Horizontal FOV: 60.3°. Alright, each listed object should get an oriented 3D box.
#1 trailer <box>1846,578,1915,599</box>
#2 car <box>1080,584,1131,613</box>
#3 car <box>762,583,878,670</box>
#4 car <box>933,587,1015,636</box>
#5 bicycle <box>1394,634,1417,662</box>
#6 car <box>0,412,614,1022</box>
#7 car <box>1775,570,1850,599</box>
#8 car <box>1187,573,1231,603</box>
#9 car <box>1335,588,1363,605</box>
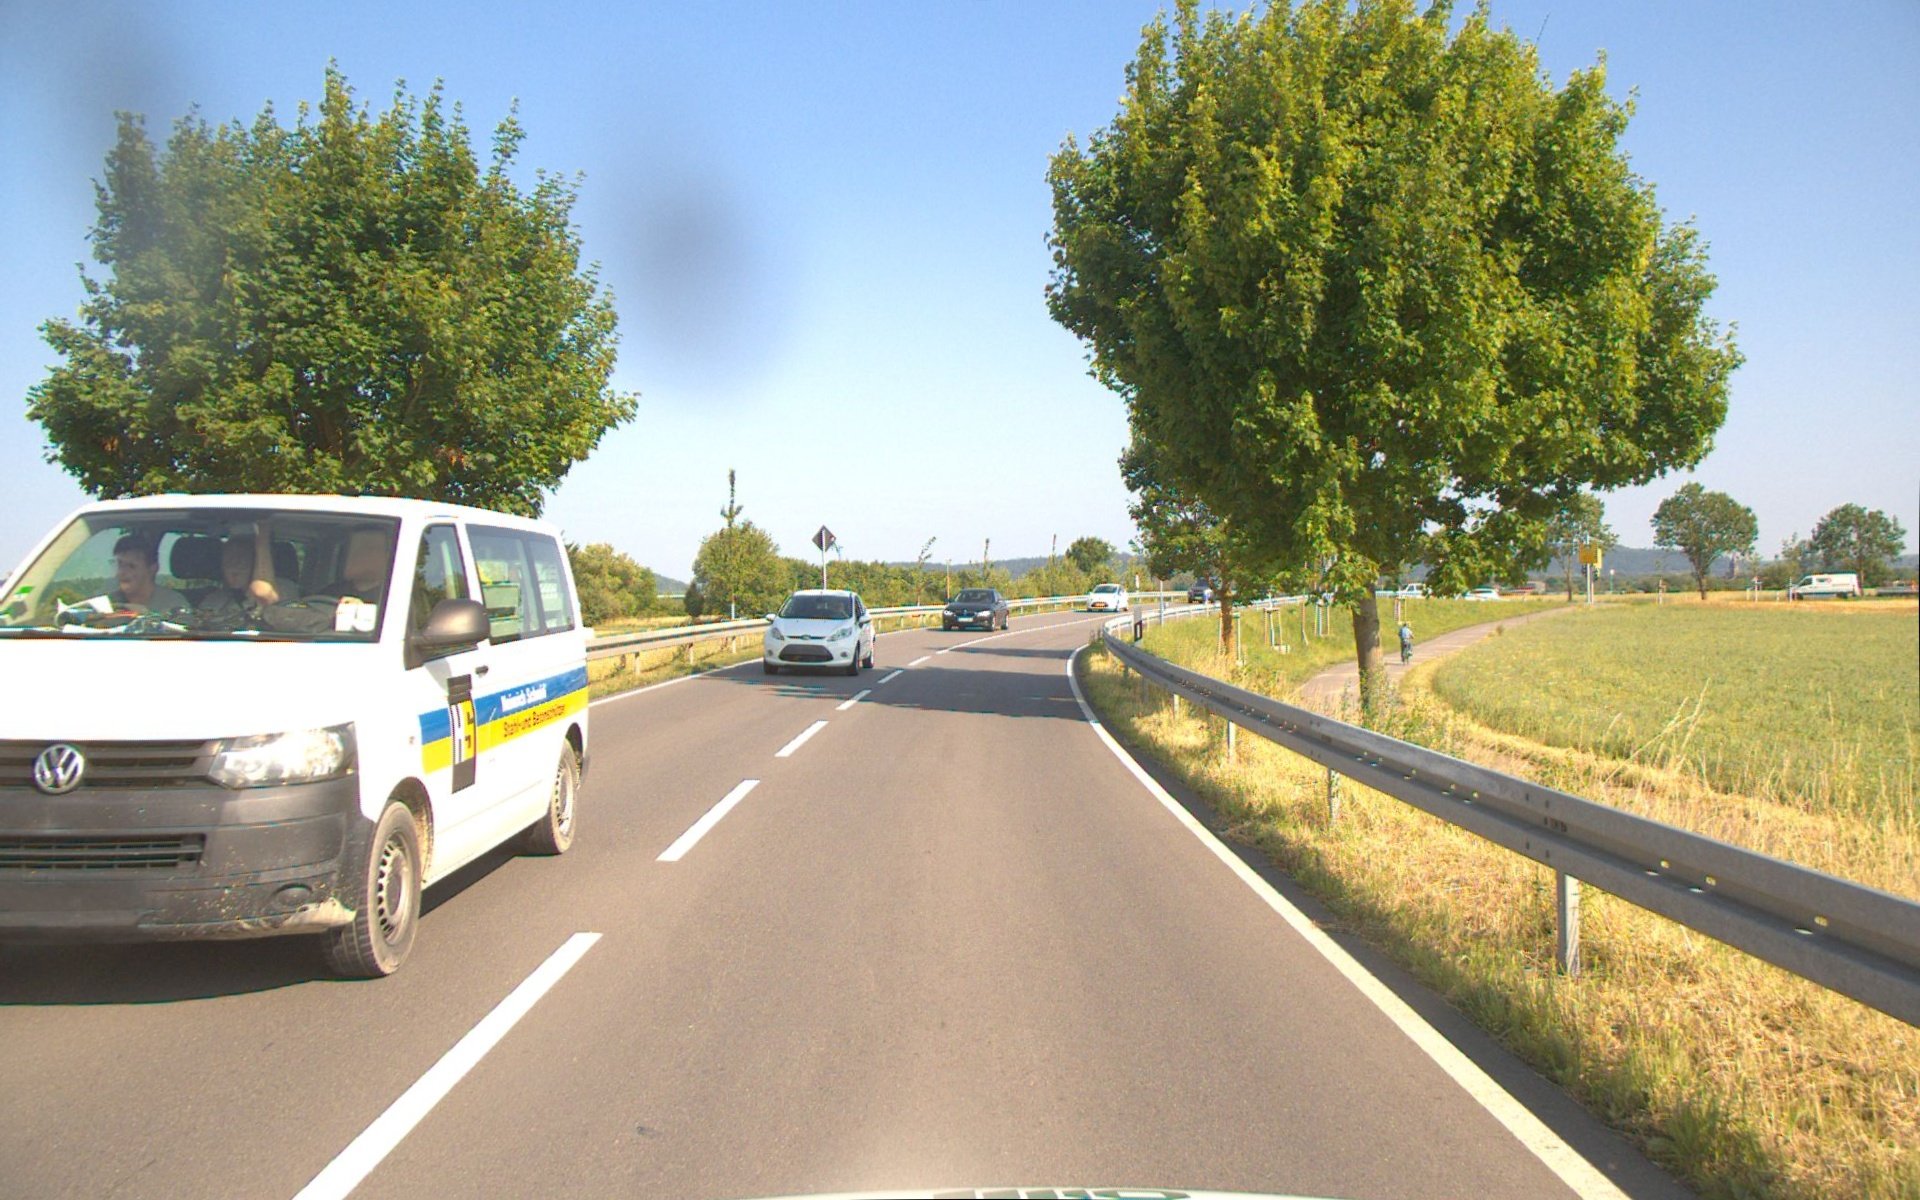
[{"bbox_3d":[82.432,-1.041,148.110,5.176,1.784,1.945,-1,-1,38],"label":"trailer"},{"bbox_3d":[7.826,-0.057,88.548,1.814,1.474,4.155,1,0,18],"label":"car"},{"bbox_3d":[-2.490,0.493,30.211,1.715,1.454,3.846,1,-1,1],"label":"car"},{"bbox_3d":[0.535,0.423,57.119,1.798,1.571,4.247,1,-1,15],"label":"car"},{"bbox_3d":[18.196,1.969,67.521,0.741,1.052,1.930,0,1,21],"label":"bicycle"},{"bbox_3d":[-3.077,0.434,7.970,1.873,2.049,4.782,0,-1,-1],"label":"car"},{"bbox_3d":[78.100,-1.446,151.535,5.862,2.536,1.991,1,0,39],"label":"car"},{"bbox_3d":[16.831,-0.767,111.735,1.844,1.829,5.091,1,-1,21],"label":"car"},{"bbox_3d":[37.664,-0.362,160.015,1.759,1.473,4.704,1,3,24],"label":"car"}]
